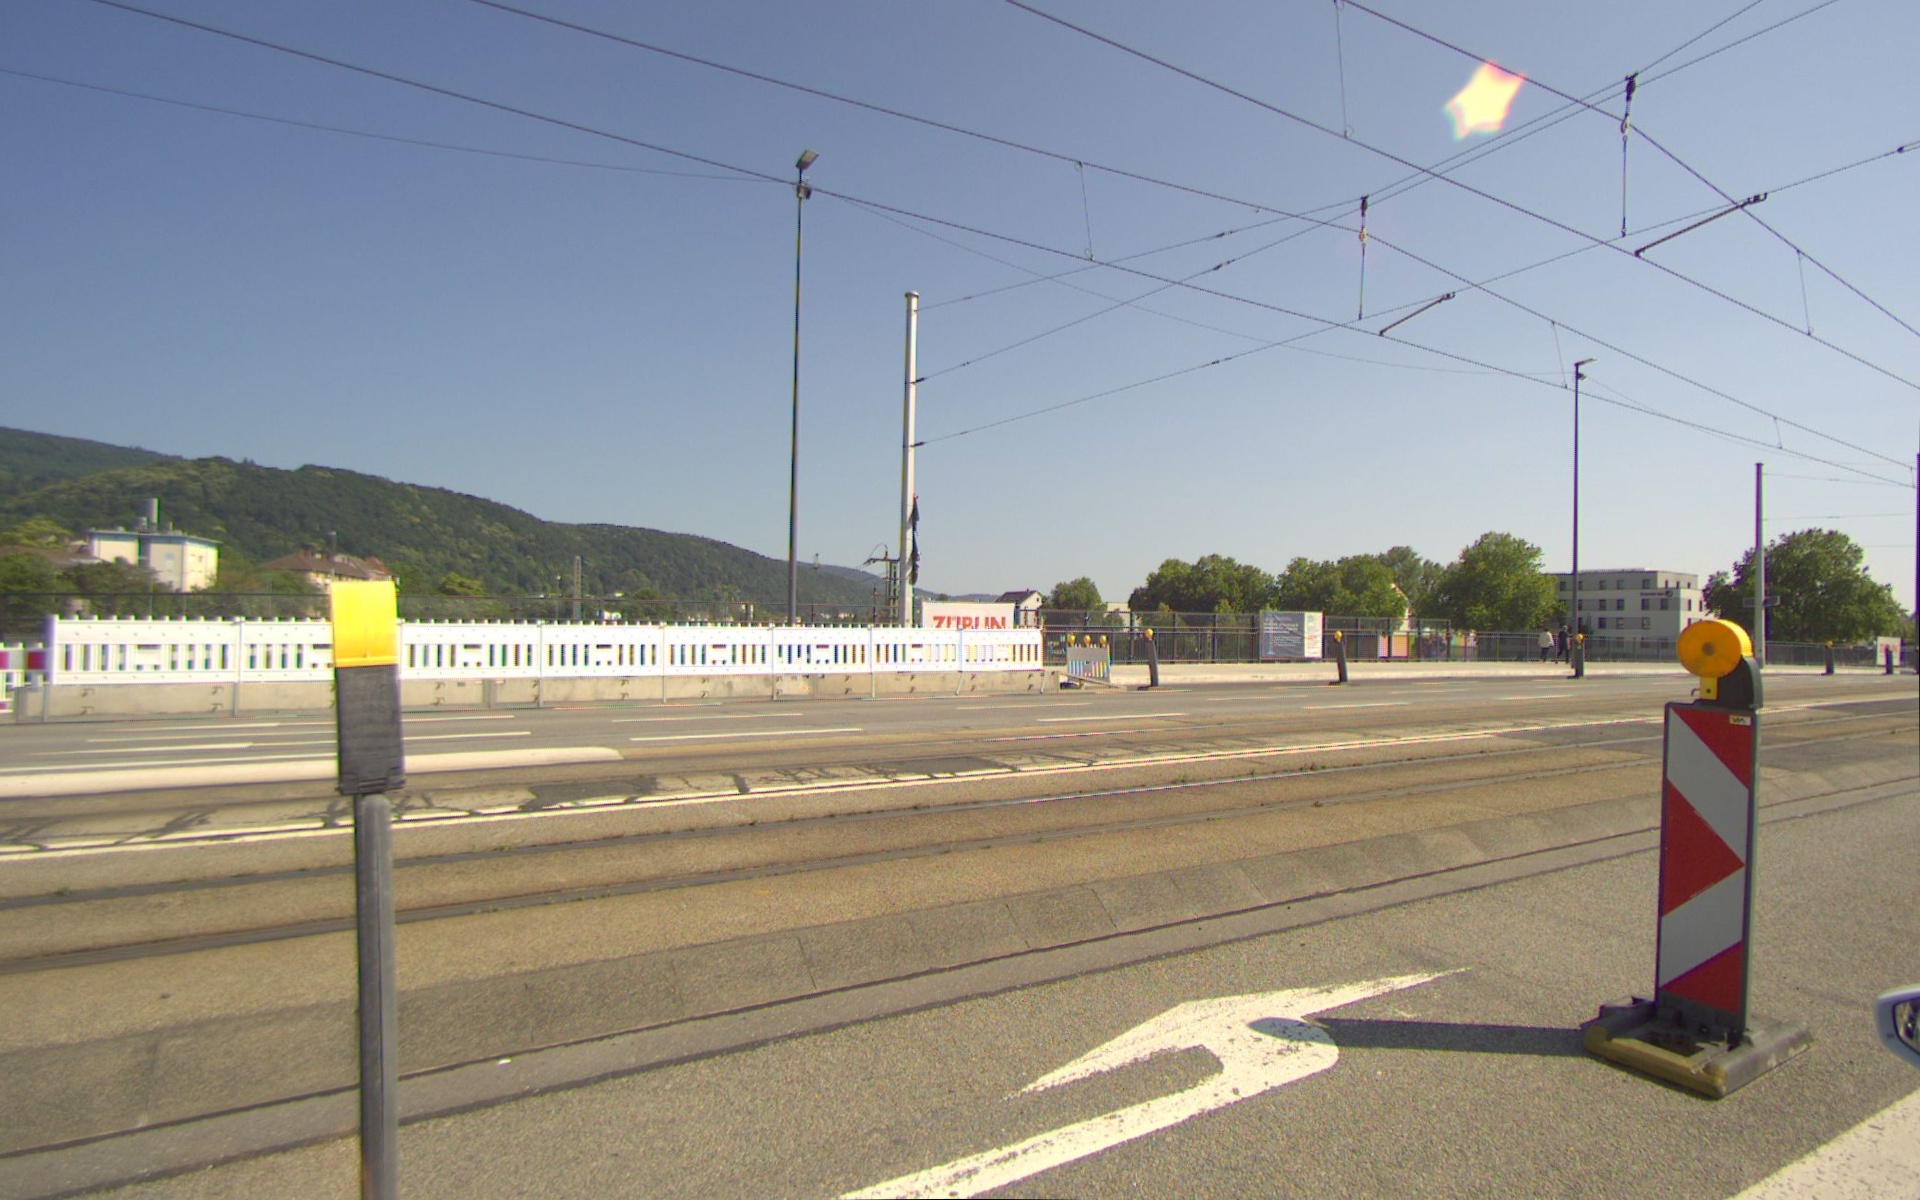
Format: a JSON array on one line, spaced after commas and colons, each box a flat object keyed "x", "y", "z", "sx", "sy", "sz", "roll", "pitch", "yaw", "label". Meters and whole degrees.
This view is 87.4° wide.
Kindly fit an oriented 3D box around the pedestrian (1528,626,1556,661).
[{"x": 26.733, "y": 1.984, "z": 46.142, "sx": 0.878, "sy": 1.565, "sz": 0.716, "roll": 2, "pitch": 1, "yaw": -30, "label": "pedestrian"}]

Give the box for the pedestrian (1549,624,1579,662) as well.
[{"x": 27.196, "y": 1.949, "z": 45.231, "sx": 0.884, "sy": 1.663, "sz": 0.740, "roll": 2, "pitch": 1, "yaw": -30, "label": "pedestrian"}]
